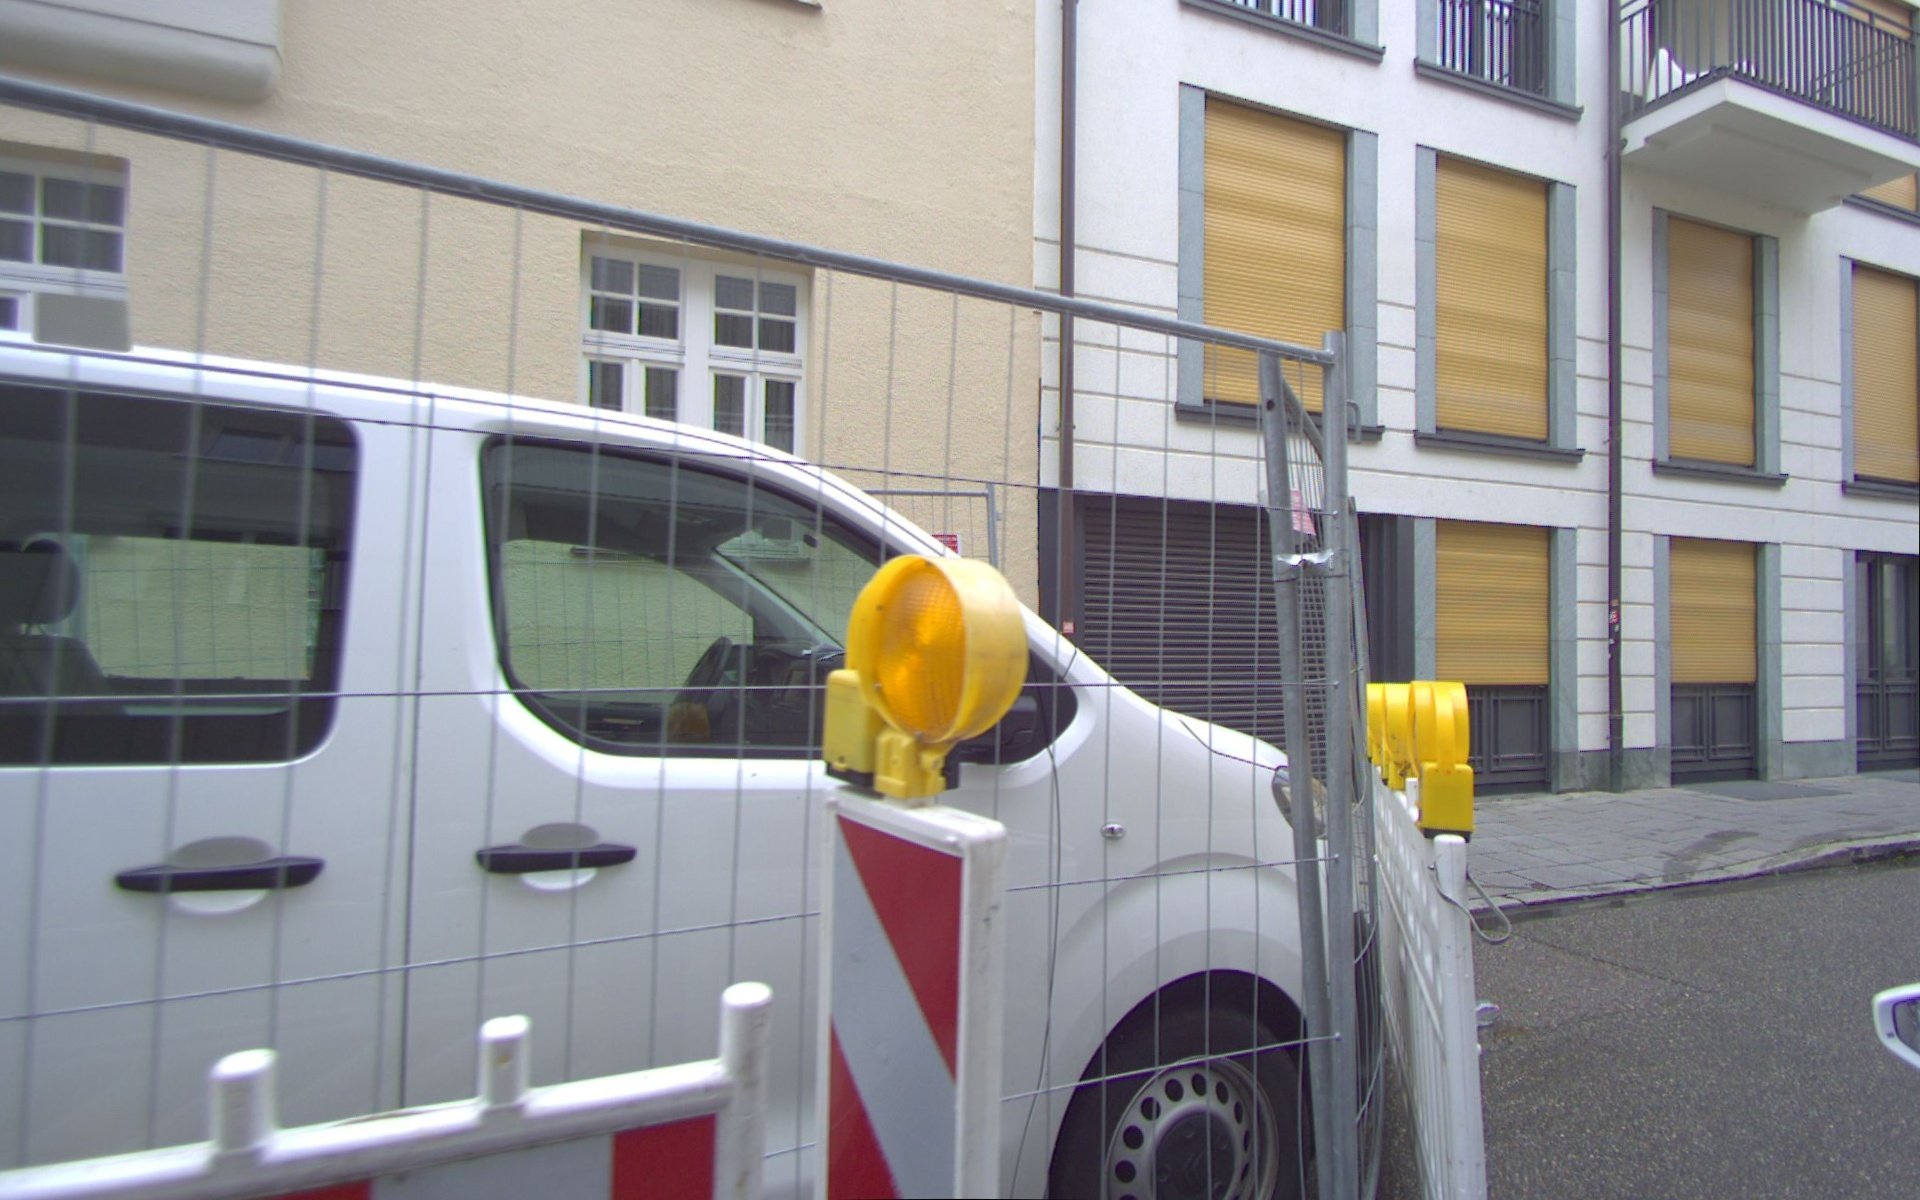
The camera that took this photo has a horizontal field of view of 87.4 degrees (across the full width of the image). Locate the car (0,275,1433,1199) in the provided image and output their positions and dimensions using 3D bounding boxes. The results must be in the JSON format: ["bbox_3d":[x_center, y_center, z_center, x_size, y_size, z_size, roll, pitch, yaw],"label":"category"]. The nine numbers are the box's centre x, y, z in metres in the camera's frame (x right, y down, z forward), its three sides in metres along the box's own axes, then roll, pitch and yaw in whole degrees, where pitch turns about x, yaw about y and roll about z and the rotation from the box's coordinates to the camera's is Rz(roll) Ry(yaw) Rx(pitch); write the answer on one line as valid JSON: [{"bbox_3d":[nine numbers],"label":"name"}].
[{"bbox_3d":[-1.527,0.579,2.156,5.021,1.922,1.899,2,-2,-26],"label":"car"}]
